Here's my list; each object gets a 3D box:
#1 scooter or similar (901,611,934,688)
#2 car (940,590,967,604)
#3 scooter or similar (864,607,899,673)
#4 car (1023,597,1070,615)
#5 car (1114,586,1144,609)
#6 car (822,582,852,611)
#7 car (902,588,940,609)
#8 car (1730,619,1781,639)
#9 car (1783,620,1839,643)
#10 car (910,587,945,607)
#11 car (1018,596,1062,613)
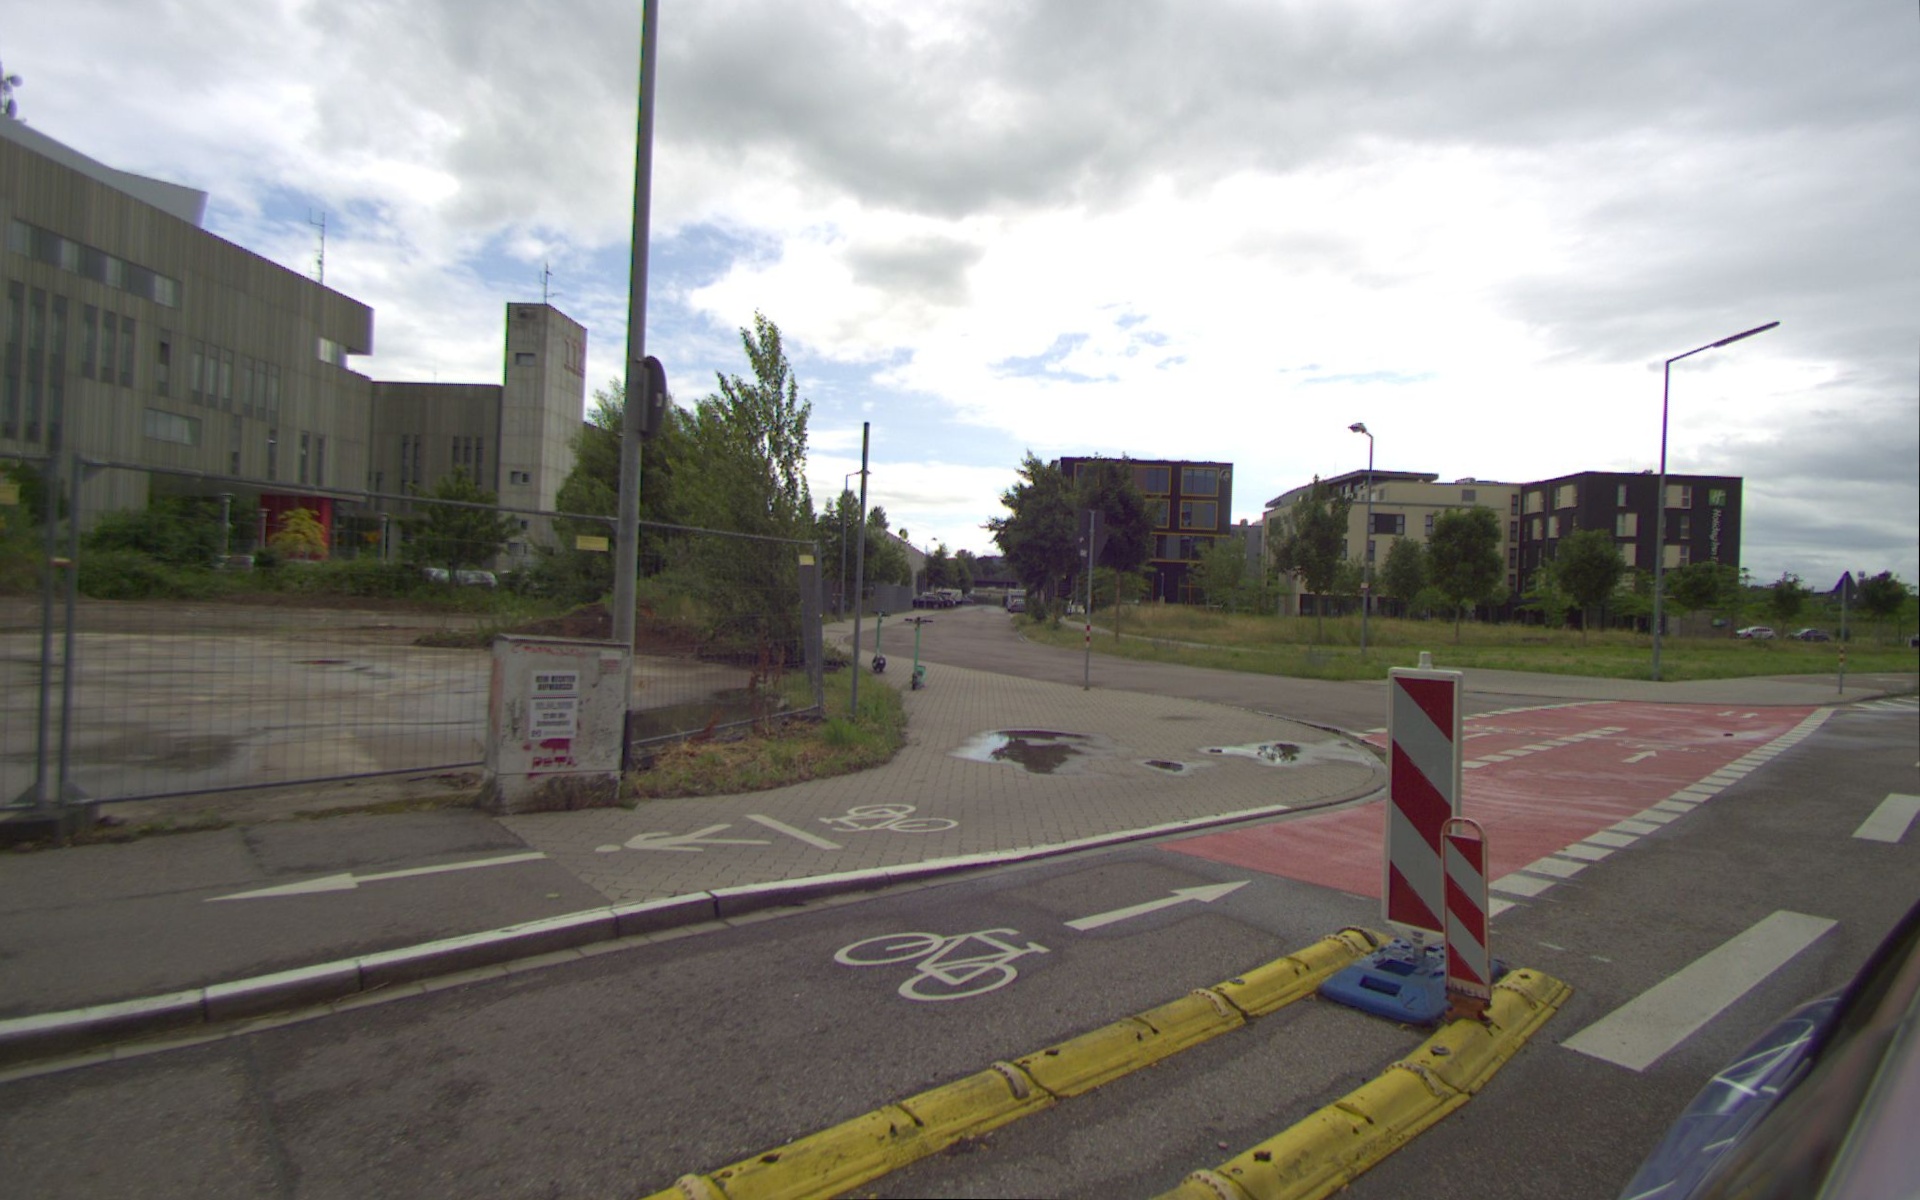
[{"bbox_3d":[-0.690,0.795,16.792,0.437,1.200,1.326,2,0,1],"label":"scooter or similar"},{"bbox_3d":[-0.911,-0.460,151.295,3.925,2.039,2.000,2,0,1],"label":"car"},{"bbox_3d":[-1.520,0.749,19.521,0.436,1.200,1.176,2,0,-15],"label":"scooter or similar"},{"bbox_3d":[7.427,0.476,86.494,3.932,1.349,1.560,3,0,7],"label":"car"},{"bbox_3d":[15.573,-0.241,93.611,1.962,2.039,4.000,3,0,0],"label":"car"},{"bbox_3d":[-9.240,-0.309,76.385,1.961,2.039,4.003,3,0,-4],"label":"car"},{"bbox_3d":[-4.172,-0.170,108.054,3.922,2.039,2.001,2,0,-2],"label":"car"},{"bbox_3d":[87.631,3.193,111.559,3.926,2.039,1.999,3,0,2],"label":"car"},{"bbox_3d":[87.543,3.238,104.103,3.926,2.039,1.999,3,0,2],"label":"car"},{"bbox_3d":[-3.734,-0.368,115.454,3.922,2.039,2.001,2,0,-2],"label":"car"},{"bbox_3d":[7.351,0.433,92.603,3.932,1.349,1.560,3,0,7],"label":"car"}]
